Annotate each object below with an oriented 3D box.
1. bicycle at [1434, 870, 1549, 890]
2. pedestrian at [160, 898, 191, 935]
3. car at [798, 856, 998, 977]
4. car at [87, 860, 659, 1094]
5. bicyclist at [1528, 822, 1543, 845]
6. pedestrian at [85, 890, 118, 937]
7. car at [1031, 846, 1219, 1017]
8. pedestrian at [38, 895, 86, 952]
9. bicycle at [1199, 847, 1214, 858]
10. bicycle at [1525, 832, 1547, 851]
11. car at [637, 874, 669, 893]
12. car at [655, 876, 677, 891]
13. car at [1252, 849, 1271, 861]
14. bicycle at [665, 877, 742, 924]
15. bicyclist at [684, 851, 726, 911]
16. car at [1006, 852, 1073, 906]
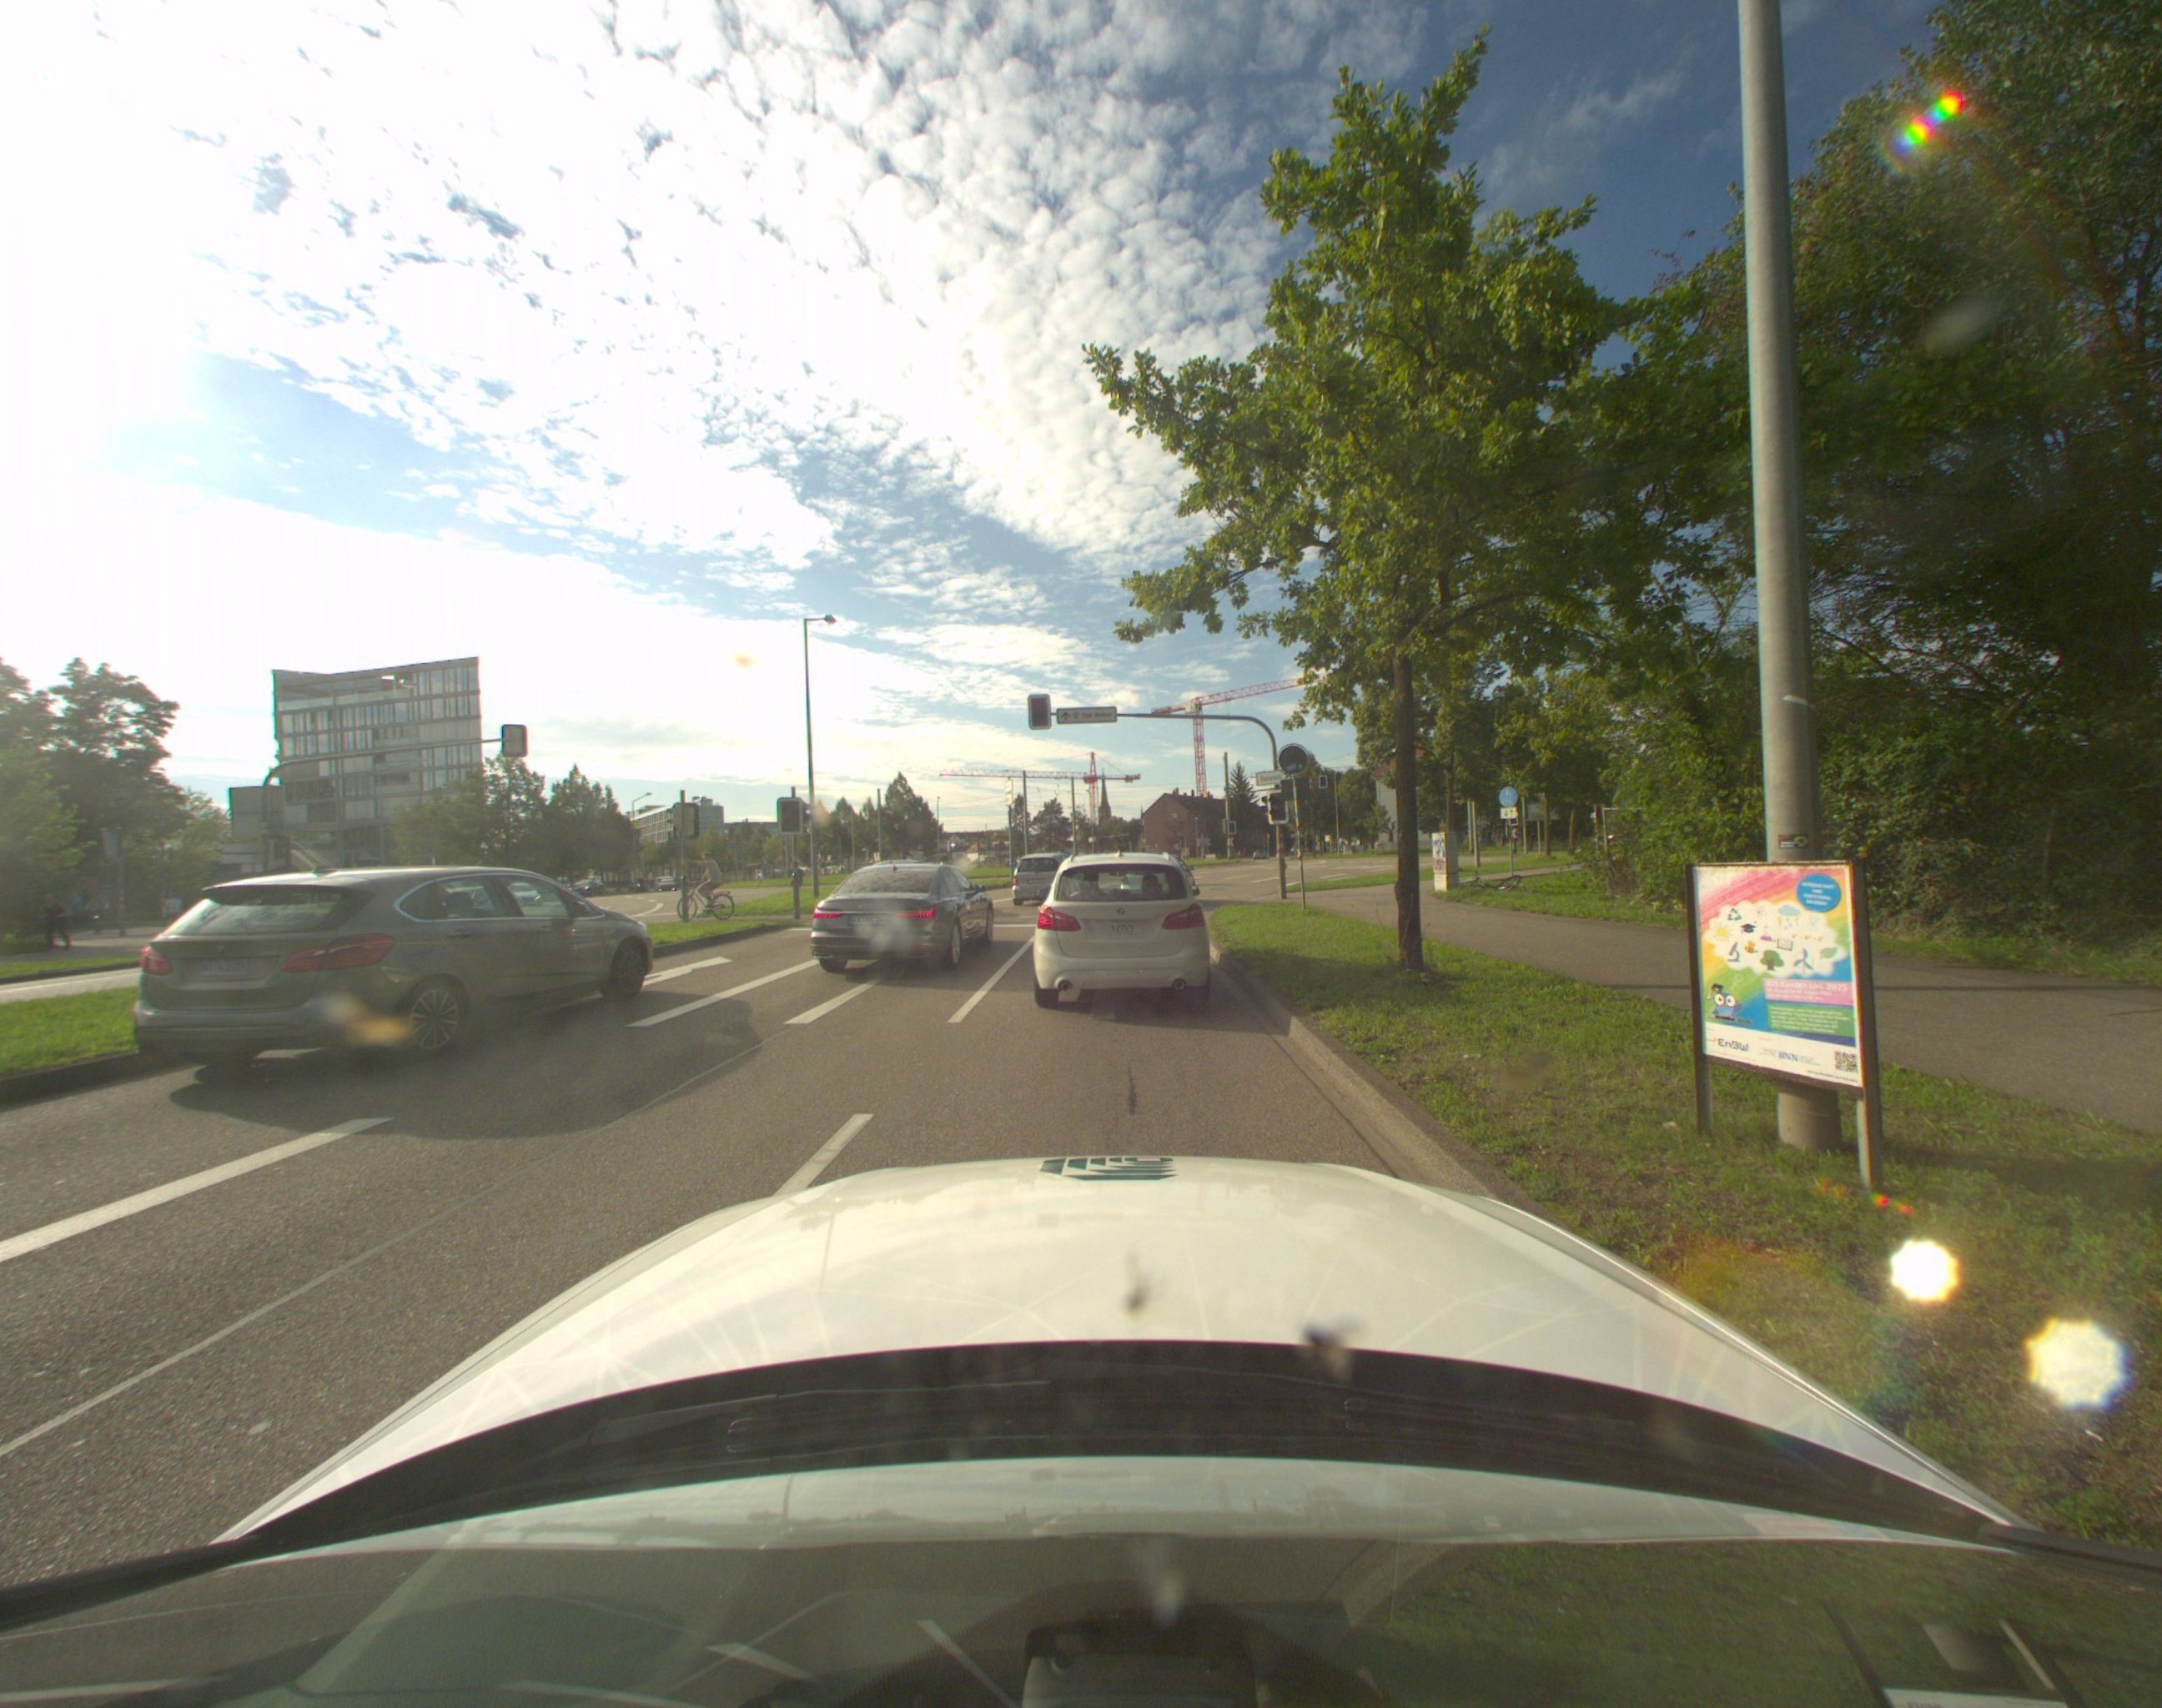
[{"bbox_3d":[10.476,0.643,20.929,1.407,0.385,2.568,-3,0,-9],"label":"bicycle"},{"bbox_3d":[-40.363,2.786,36.293,0.652,1.569,0.616,-3,-1,1],"label":"pedestrian"},{"bbox_3d":[-2.532,0.806,12.536,1.883,1.483,4.614,-1,-1,2],"label":"car"},{"bbox_3d":[-5.934,0.866,7.628,1.722,1.558,4.021,-1,0,2],"label":"car"},{"bbox_3d":[40.453,-1.796,72.567,0.834,2.013,1.146,-1,0,11],"label":"bicyclist"},{"bbox_3d":[-43.640,2.652,36.307,0.923,2.013,0.886,-3,-1,40],"label":"pedestrian"},{"bbox_3d":[0.469,0.722,9.624,1.723,1.558,4.059,-1,0,2],"label":"car"},{"bbox_3d":[-29.222,1.975,23.363,0.594,1.581,0.575,3,-2,-26],"label":"pedestrian"},{"bbox_3d":[18.407,-0.261,119.290,0.898,1.530,2.268,0,-2,-28],"label":"bicycle"},{"bbox_3d":[40.405,-1.100,72.366,1.036,1.662,2.504,0,0,12],"label":"bicycle"},{"bbox_3d":[-40.862,2.804,77.801,1.790,1.575,3.978,-3,0,-16],"label":"car"},{"bbox_3d":[-43.937,3.130,86.296,1.598,1.415,3.644,-2,-3,-20],"label":"car"},{"bbox_3d":[27.031,0.127,121.775,1.554,1.573,3.219,-2,2,35],"label":"car"},{"bbox_3d":[-10.130,1.230,21.909,1.728,1.163,0.652,-2,-1,-15],"label":"bicycle"},{"bbox_3d":[-10.118,0.720,21.934,0.850,1.526,0.737,-3,-1,-14],"label":"bicyclist"},{"bbox_3d":[-1.225,0.728,25.702,1.722,1.558,4.060,-1,0,2],"label":"car"}]
